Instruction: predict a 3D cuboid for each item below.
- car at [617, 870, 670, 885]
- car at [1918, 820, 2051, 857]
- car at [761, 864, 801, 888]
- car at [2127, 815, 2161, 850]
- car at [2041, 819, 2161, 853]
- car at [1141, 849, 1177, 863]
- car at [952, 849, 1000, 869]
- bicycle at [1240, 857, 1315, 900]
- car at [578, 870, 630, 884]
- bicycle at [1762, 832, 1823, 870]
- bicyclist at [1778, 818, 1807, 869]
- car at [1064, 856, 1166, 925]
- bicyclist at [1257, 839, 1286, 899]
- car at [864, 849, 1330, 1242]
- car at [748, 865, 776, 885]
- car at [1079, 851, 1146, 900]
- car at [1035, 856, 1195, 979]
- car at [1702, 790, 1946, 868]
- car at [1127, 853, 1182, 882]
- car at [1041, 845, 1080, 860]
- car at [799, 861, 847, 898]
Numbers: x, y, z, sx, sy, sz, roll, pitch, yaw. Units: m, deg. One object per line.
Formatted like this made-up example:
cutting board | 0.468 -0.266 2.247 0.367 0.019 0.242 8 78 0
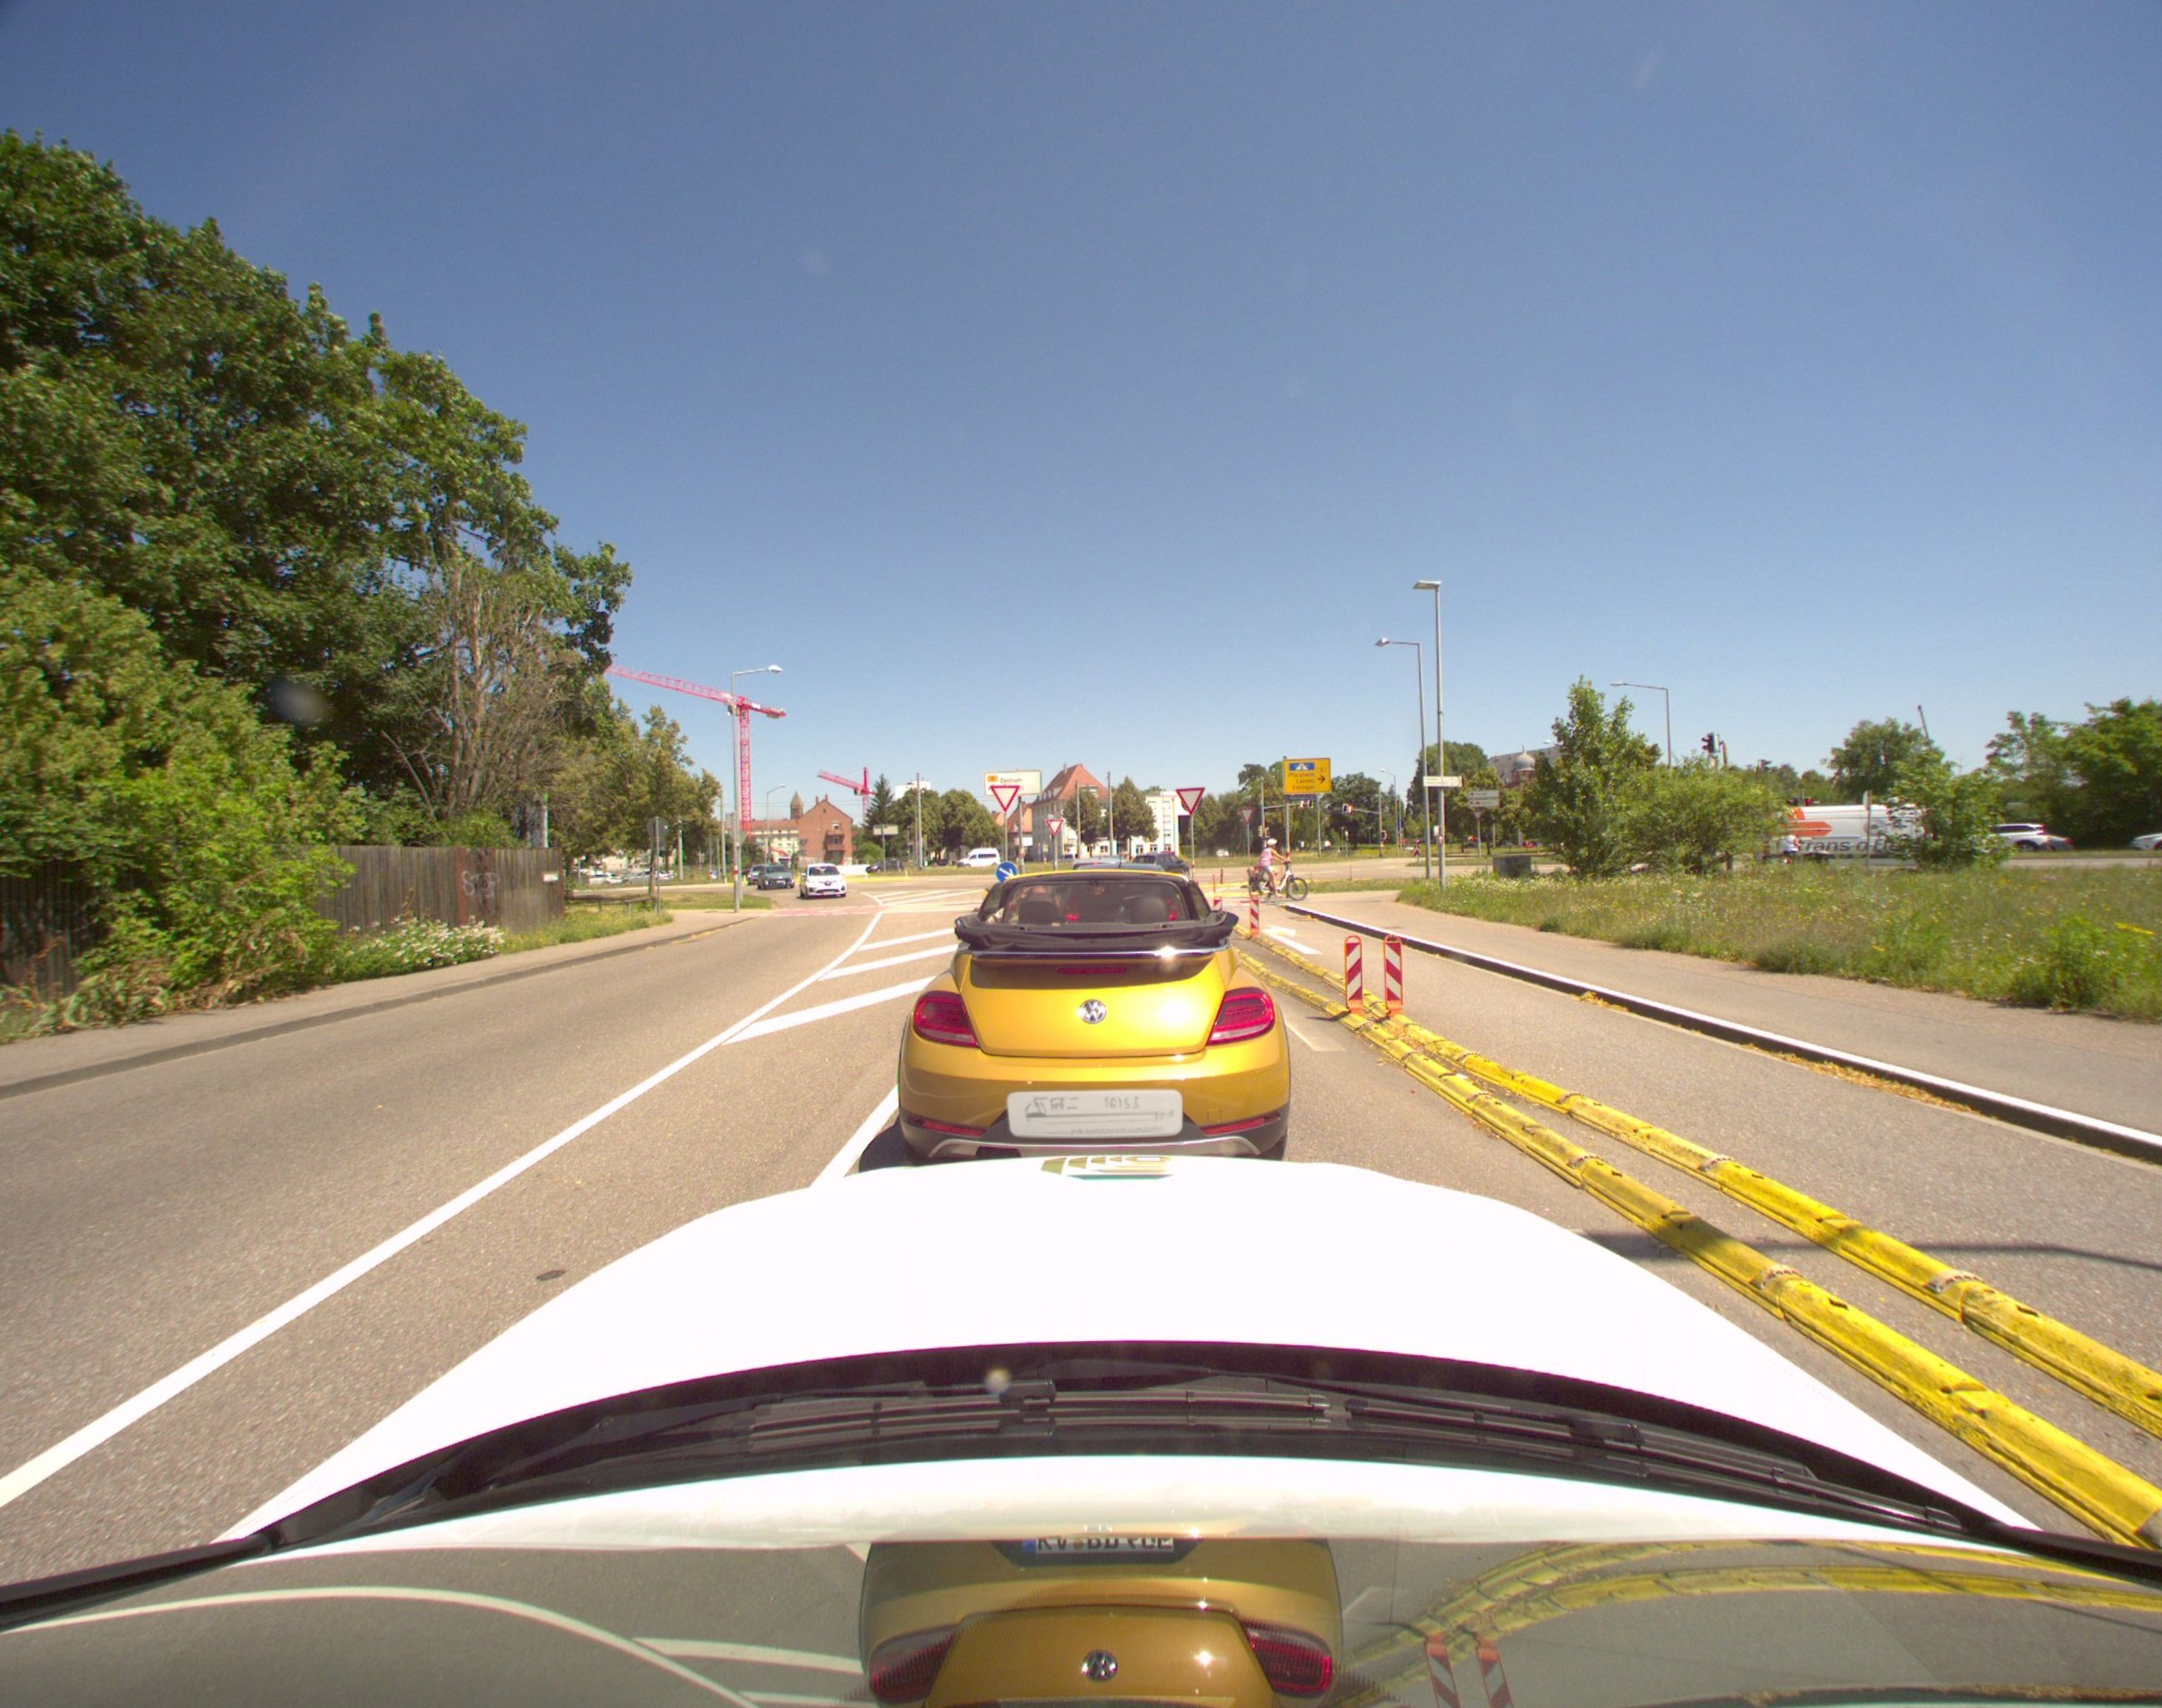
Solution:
car | -43.985 2.369 82.010 4.312 1.371 1.748 0 -1 -6
car | 45.876 -0.745 41.505 4.389 1.736 1.860 -1 -1 43
car | -18.234 1.330 49.723 1.748 1.371 4.311 0 -1 -13
car | 51.279 -0.993 36.966 4.389 1.592 1.860 -1 -1 43
car | 51.444 -0.867 40.610 4.389 1.592 1.860 -1 -1 43
car | 9.983 0.279 104.290 4.297 1.654 1.910 -1 -1 19
car | -12.444 0.601 97.005 5.344 2.397 1.975 0 -1 -30
bicycle | 5.884 0.731 24.420 2.082 1.221 0.634 -2 0 4
car | -49.811 2.376 85.142 4.311 1.371 1.749 0 -1 -6
bicycle | 25.816 -0.112 29.516 2.902 1.353 0.635 0 -1 -28
bicyclist | 25.757 -0.376 29.496 0.573 1.841 0.603 0 -1 -29
car | 0.789 0.758 18.623 2.056 1.382 4.261 0 -1 3
bicyclist | 5.713 0.451 24.437 0.667 1.752 0.593 -3 1 3
car | 0.123 0.745 5.225 1.758 1.481 4.259 0 -1 2
car | -23.603 1.494 60.377 1.732 1.402 4.244 0 -1 -18
car | 1.068 0.674 28.085 2.057 1.481 4.545 -2 0 2
car | 0.464 0.757 11.740 1.844 1.366 4.260 -2 0 2
car | 28.967 -0.877 32.176 6.796 2.828 2.012 -1 -1 30
car | 3.442 0.612 37.728 1.421 1.259 3.236 -1 -1 26
car | -2.952 -0.156 114.342 5.259 2.070 2.007 -1 -1 34
car | -11.779 1.127 37.063 1.783 1.527 3.844 -2 0 -22
